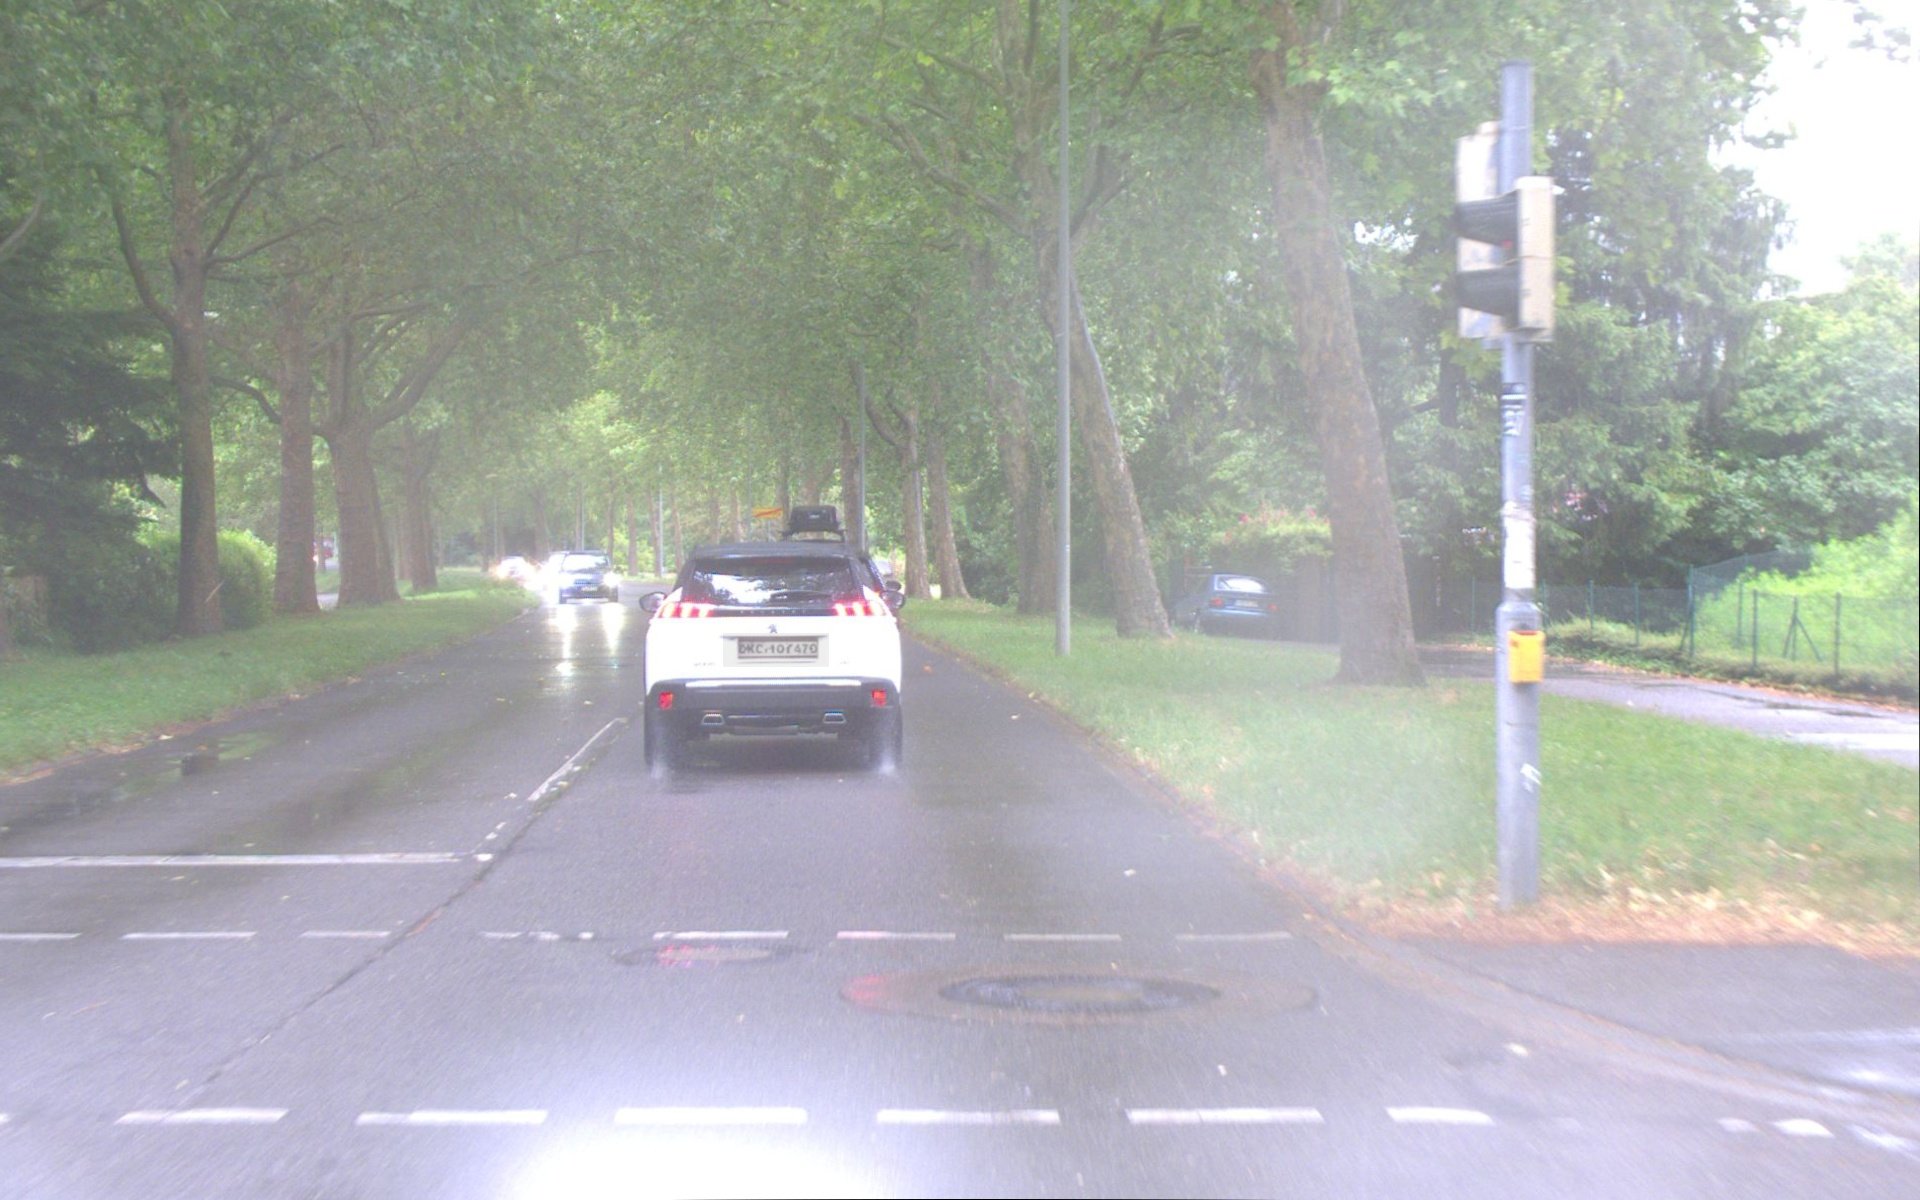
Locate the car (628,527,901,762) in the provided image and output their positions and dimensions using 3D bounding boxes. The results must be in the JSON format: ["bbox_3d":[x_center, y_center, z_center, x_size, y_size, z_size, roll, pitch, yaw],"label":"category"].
[{"bbox_3d":[-1.457,0.275,24.690,1.780,1.531,4.058,1,1,-5],"label":"car"}]

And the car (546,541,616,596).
[{"bbox_3d":[-11.685,-0.971,106.116,1.873,1.671,3.708,0,1,-2],"label":"car"}]

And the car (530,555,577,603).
[{"bbox_3d":[-17.229,-0.879,145.881,1.741,2.007,3.665,0,1,-3],"label":"car"}]

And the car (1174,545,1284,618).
[{"bbox_3d":[5.688,-0.406,73.063,1.905,1.505,3.932,0,1,-2],"label":"car"}]
